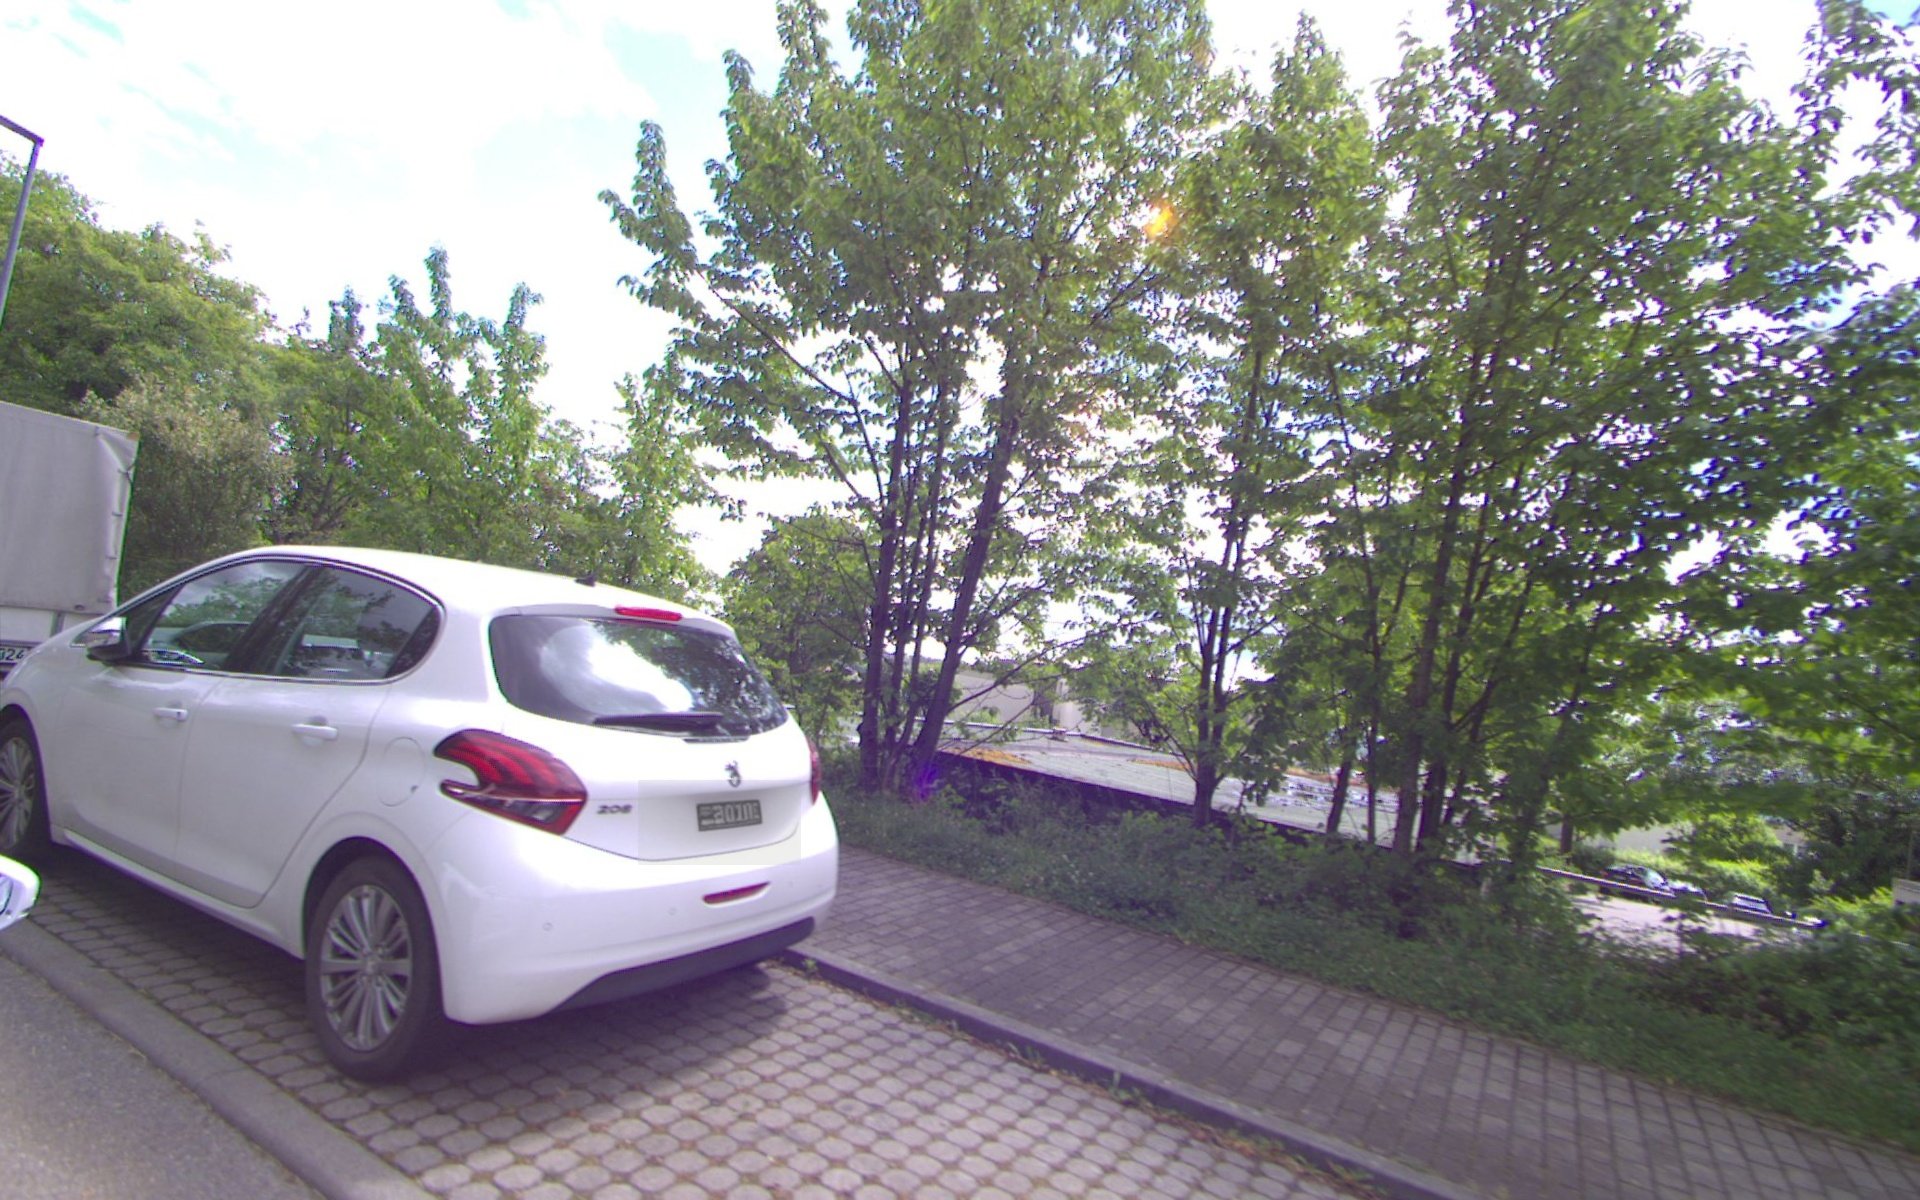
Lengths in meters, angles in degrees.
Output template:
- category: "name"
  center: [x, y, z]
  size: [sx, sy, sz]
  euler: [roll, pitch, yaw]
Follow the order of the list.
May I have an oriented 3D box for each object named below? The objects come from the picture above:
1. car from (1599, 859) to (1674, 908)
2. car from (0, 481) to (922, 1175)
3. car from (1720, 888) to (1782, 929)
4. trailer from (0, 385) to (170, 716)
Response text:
- category: "car"
  center: [26.903, 11.272, 39.967]
  size: [3.601, 1.289, 1.624]
  euler: [20, -10, -41]
- category: "car"
  center: [-2.252, 0.505, 4.051]
  size: [3.719, 1.494, 1.710]
  euler: [7, -2, 30]
- category: "car"
  center: [36.391, 14.176, 46.355]
  size: [1.615, 1.289, 3.619]
  euler: [6, -9, 30]
- category: "trailer"
  center: [-7.817, -0.512, 7.204]
  size: [3.716, 2.102, 1.736]
  euler: [7, -2, 25]
